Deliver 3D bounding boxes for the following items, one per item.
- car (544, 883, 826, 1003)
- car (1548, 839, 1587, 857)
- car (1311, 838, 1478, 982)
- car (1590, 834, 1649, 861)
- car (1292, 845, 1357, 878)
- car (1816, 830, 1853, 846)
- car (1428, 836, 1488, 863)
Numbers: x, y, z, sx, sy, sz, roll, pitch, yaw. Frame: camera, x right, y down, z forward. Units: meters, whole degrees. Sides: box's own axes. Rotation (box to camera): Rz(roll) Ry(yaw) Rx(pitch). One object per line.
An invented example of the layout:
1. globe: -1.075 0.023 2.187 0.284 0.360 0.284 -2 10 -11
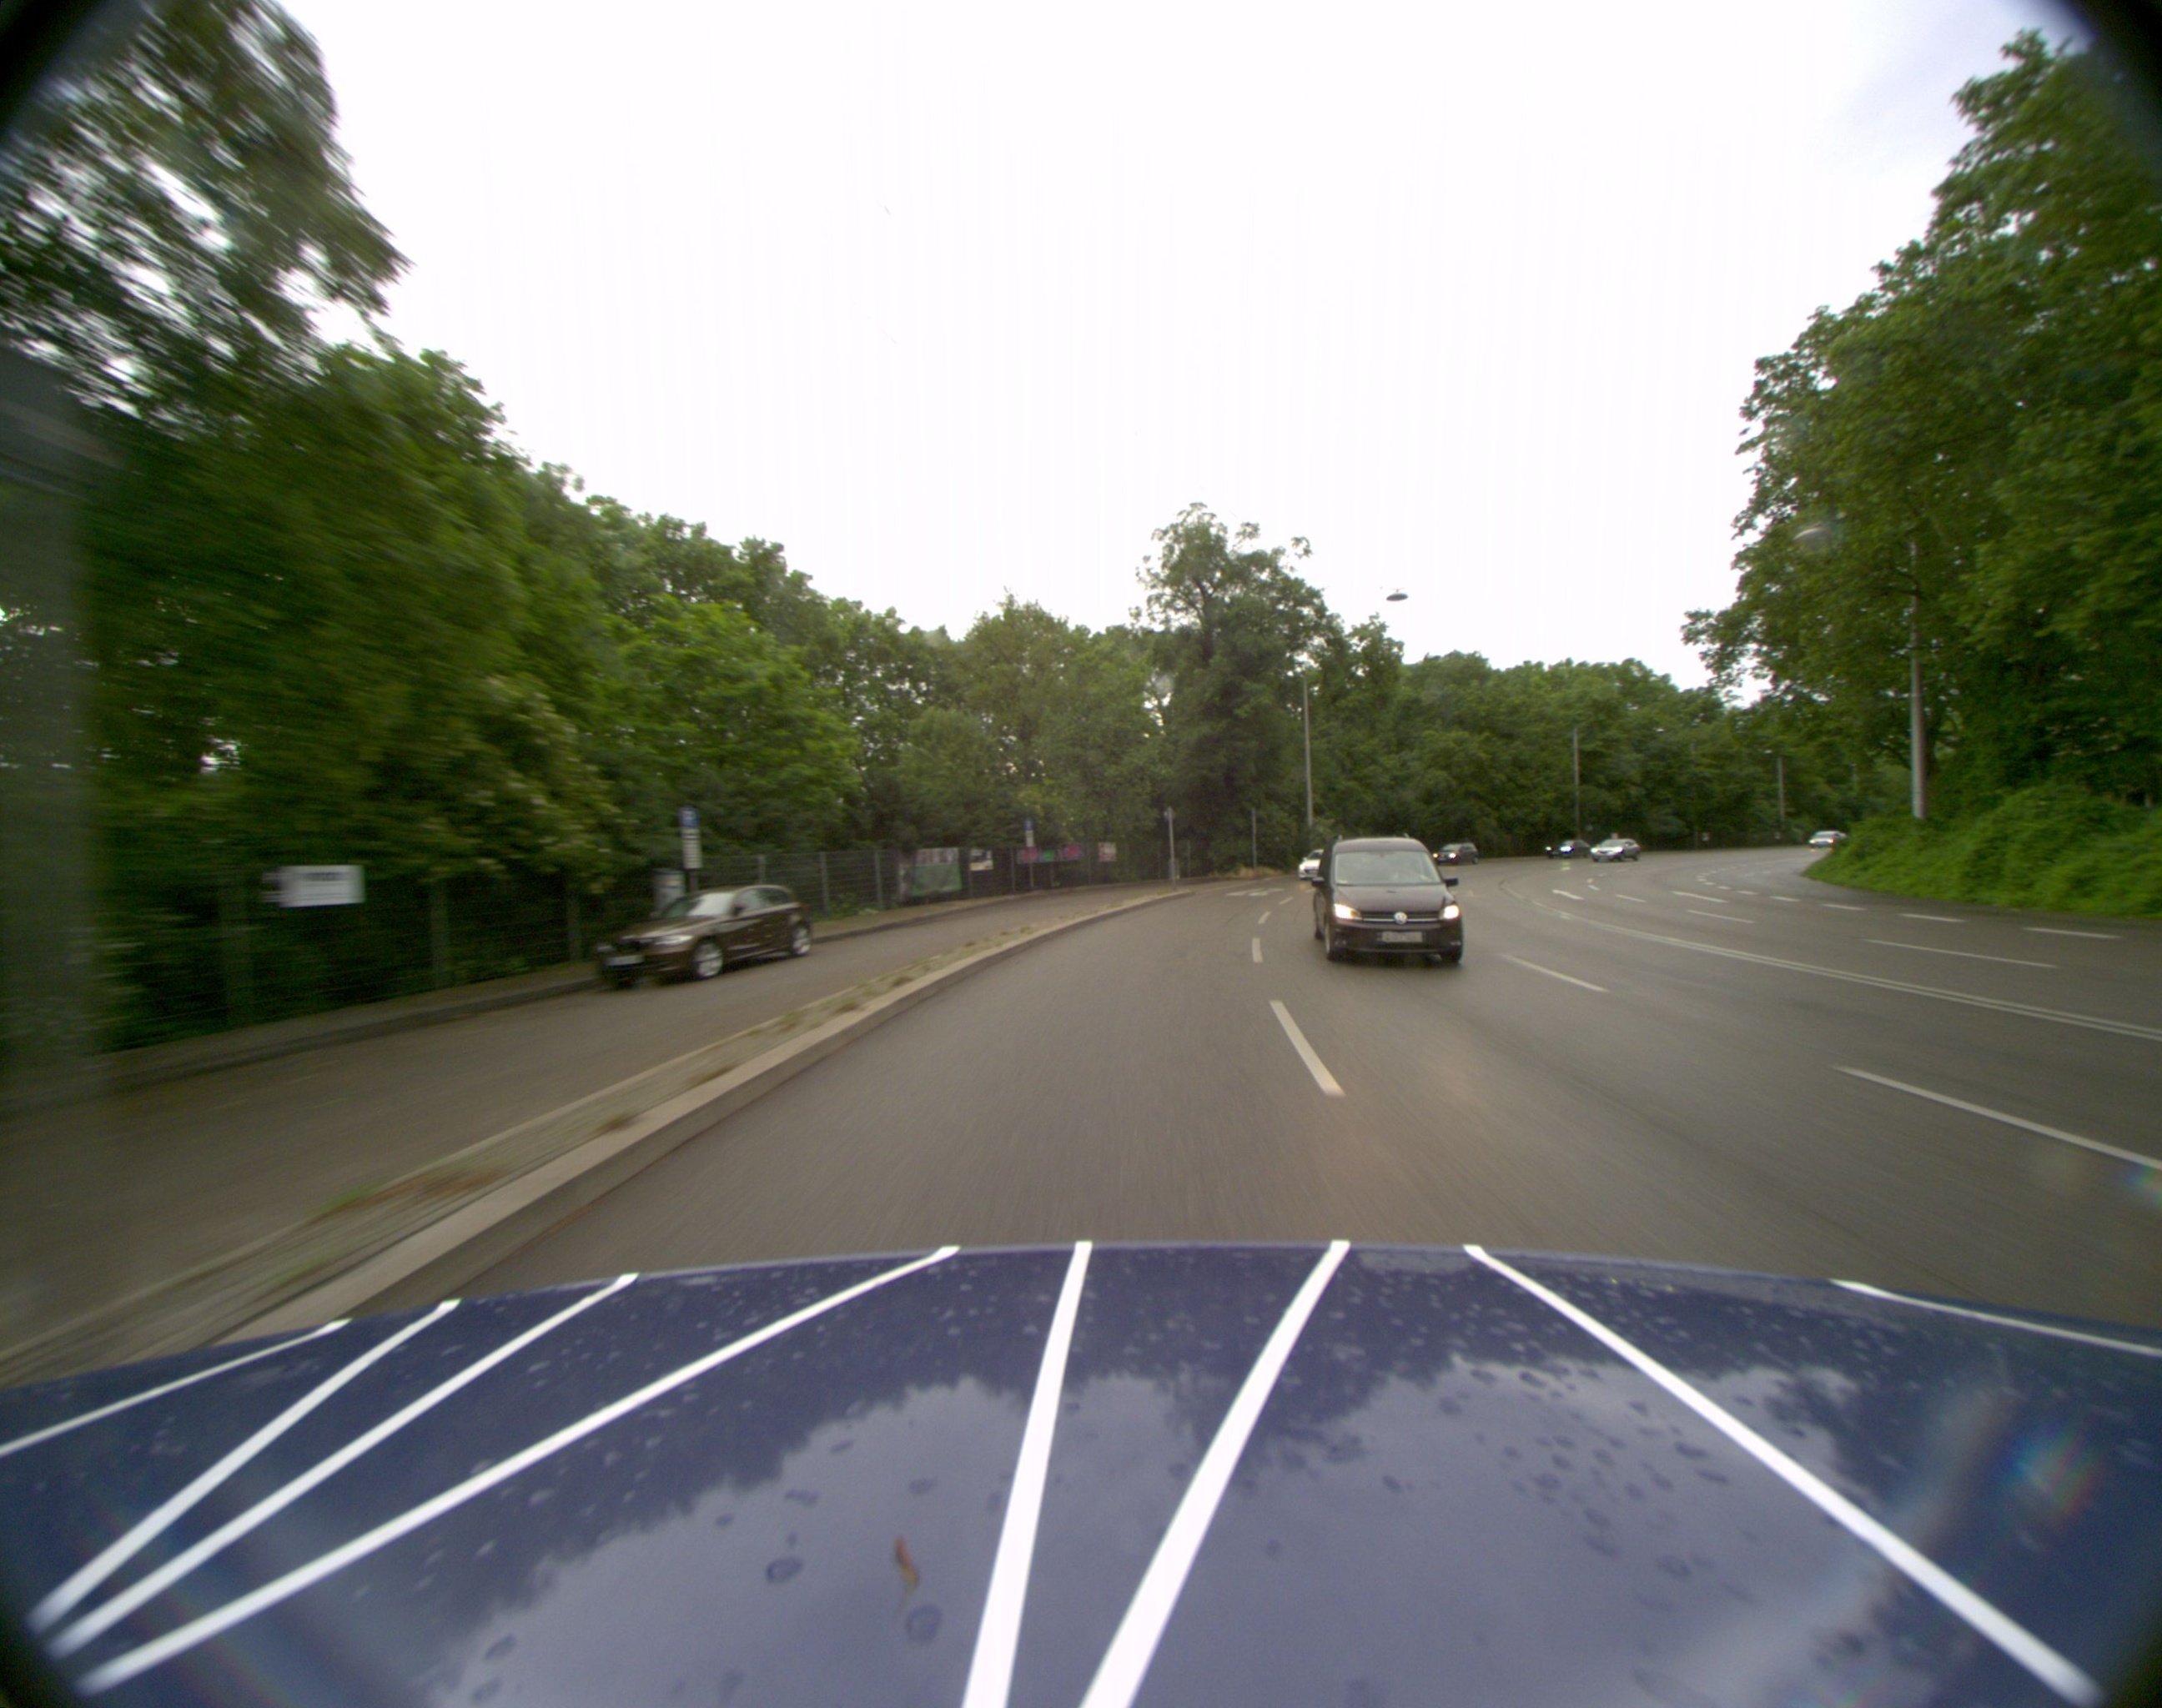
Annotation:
1. car: -6.343 1.363 12.834 1.875 1.368 4.178 -6 -1 12
2. car: 40.180 -0.489 62.721 3.112 1.325 1.579 -2 1 -33
3. car: 4.537 0.676 11.586 1.793 1.789 4.129 -1 1 15
4. car: 38.758 -0.476 54.617 4.663 1.735 1.995 -2 1 -35
5. car: 12.111 0.364 37.628 1.791 1.444 4.008 -1 1 37
6. car: 80.157 -1.699 80.787 3.907 1.512 1.922 -2 1 -32
7. car: 26.135 -0.317 52.695 4.007 1.735 1.995 -2 1 -34
